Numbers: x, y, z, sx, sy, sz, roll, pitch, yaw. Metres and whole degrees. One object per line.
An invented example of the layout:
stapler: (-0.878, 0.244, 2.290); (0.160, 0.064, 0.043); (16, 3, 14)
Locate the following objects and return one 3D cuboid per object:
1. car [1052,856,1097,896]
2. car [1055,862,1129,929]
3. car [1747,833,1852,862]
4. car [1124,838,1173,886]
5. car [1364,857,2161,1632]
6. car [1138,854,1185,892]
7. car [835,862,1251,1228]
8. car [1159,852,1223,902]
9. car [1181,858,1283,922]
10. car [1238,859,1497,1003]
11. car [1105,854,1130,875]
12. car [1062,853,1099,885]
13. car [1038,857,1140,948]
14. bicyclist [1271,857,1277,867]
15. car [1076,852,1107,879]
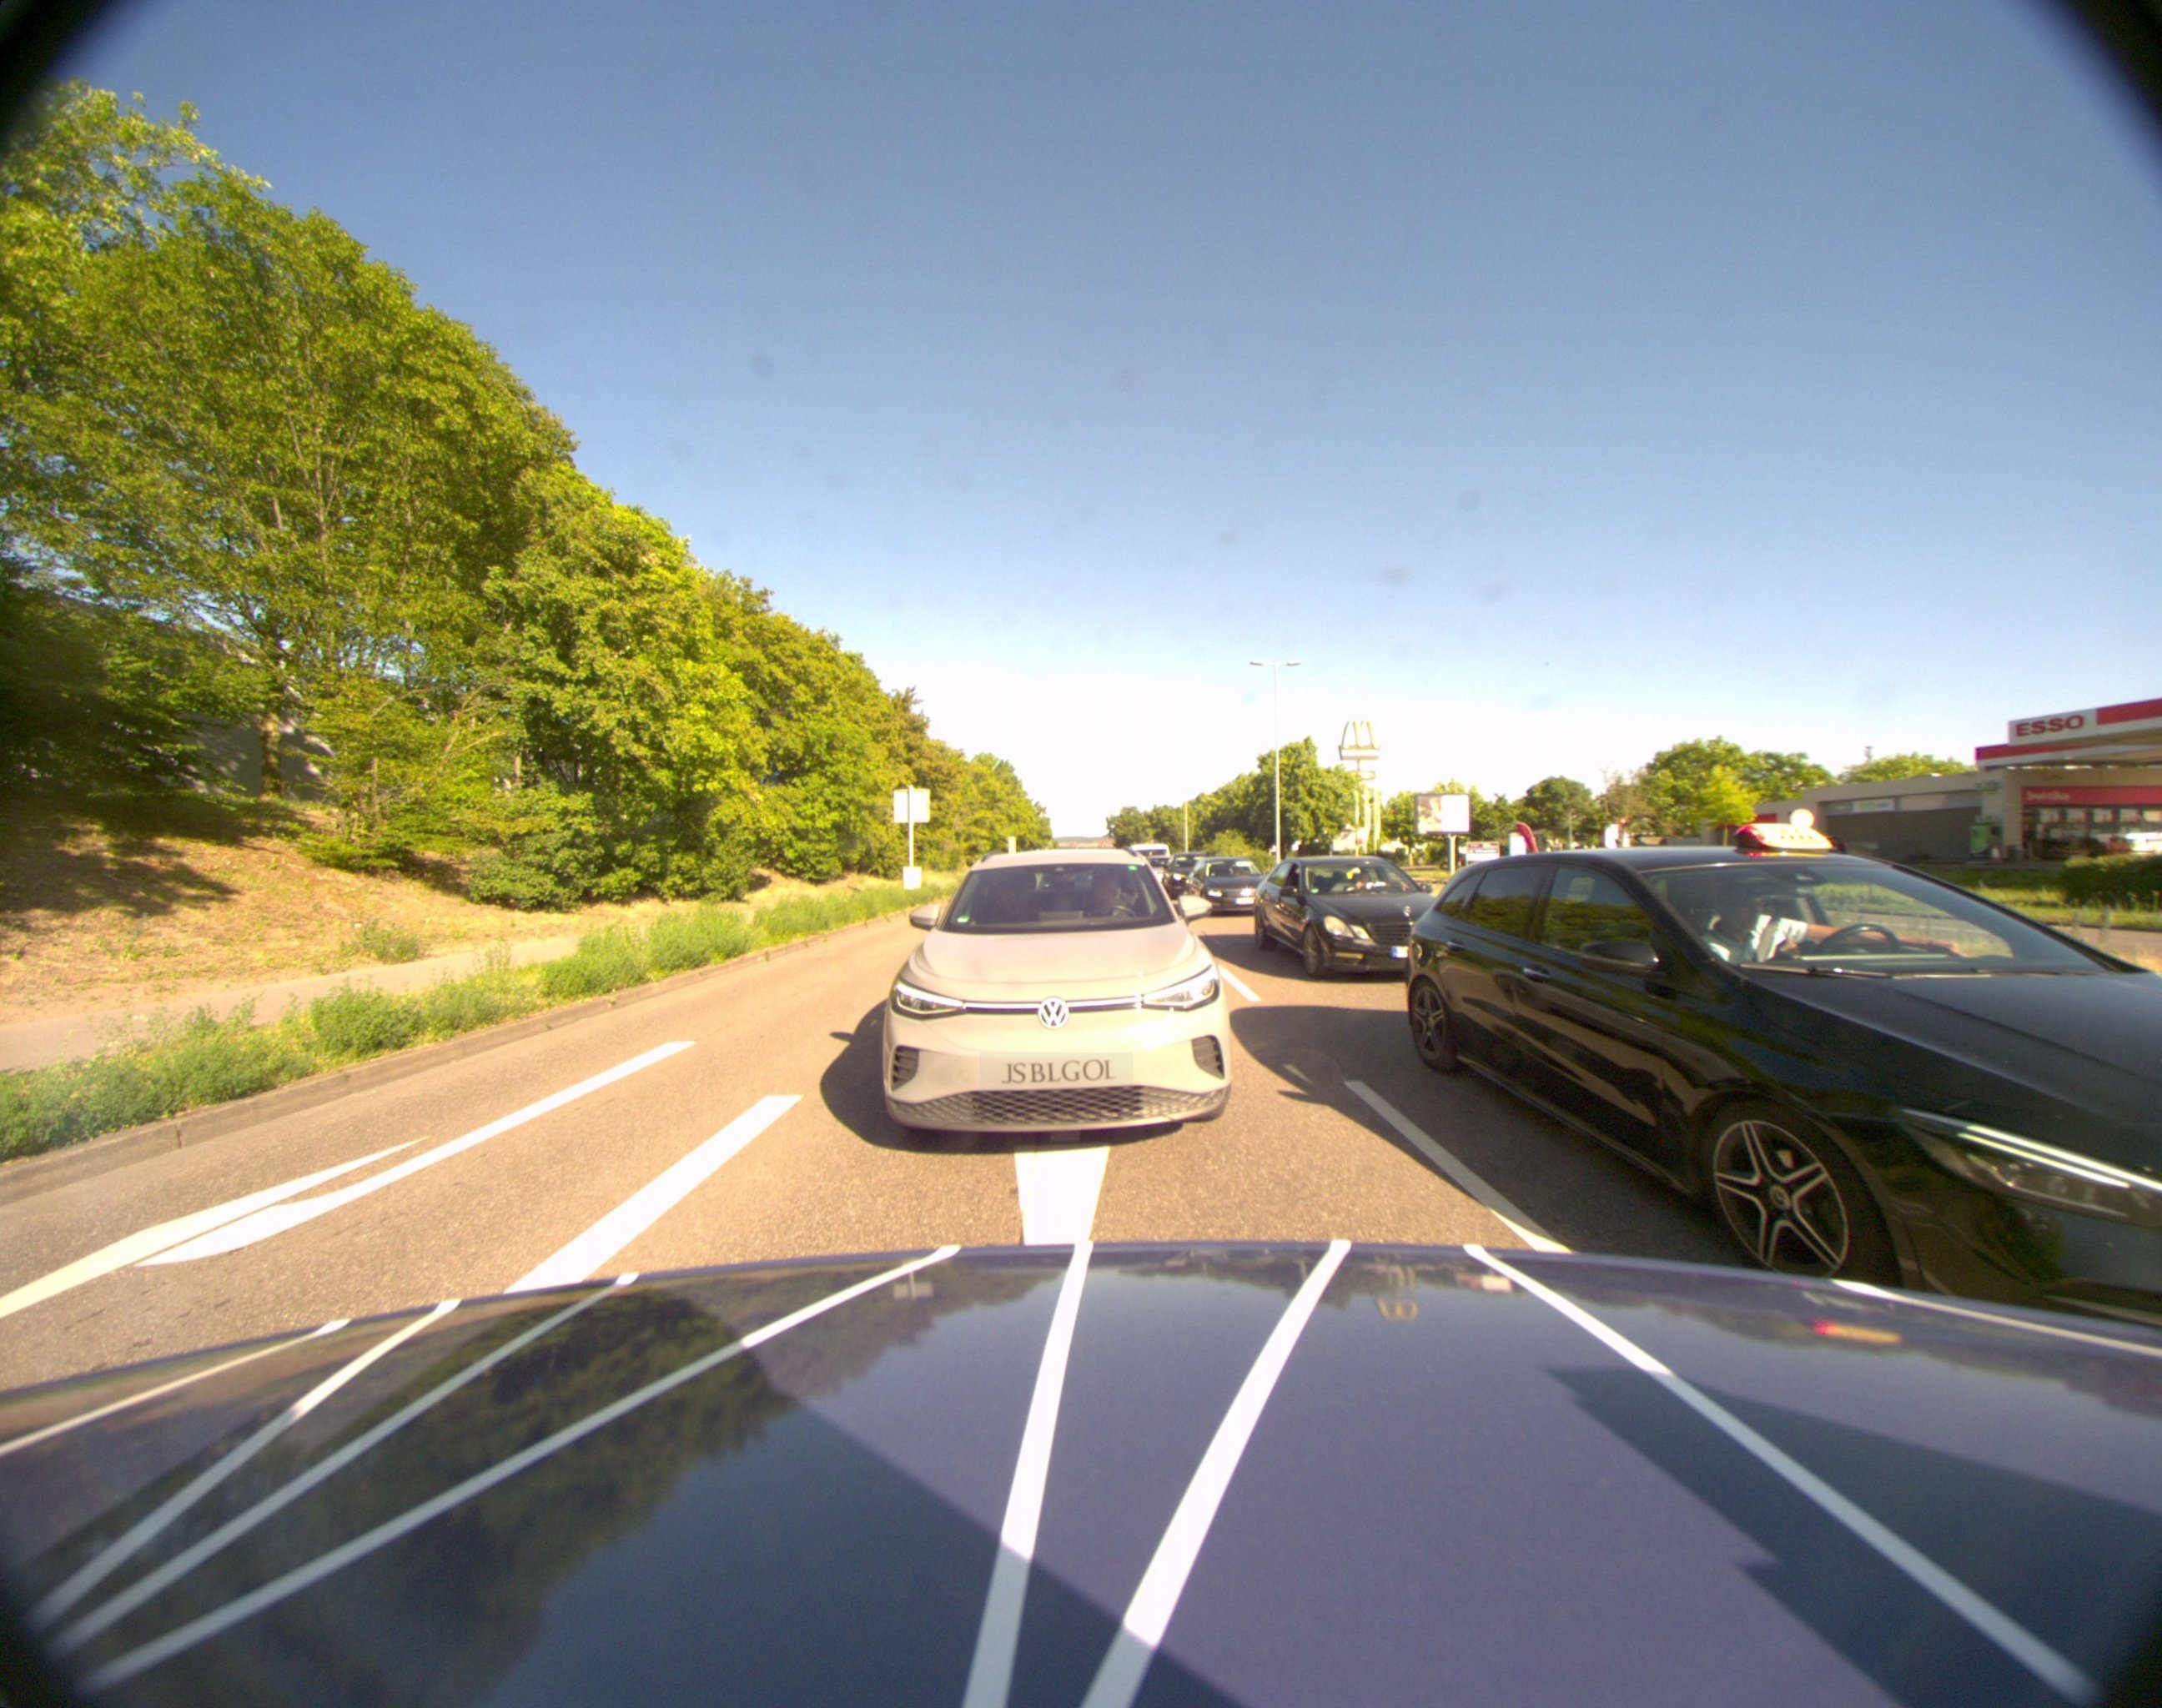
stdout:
car: (-0.258, 0.887, 33.031); (1.763, 1.482, 4.402); (-2, 1, 0)
car: (0.265, 1.043, 20.925); (1.763, 1.482, 4.402); (-2, 1, 0)
car: (37.332, -0.339, 39.633); (1.682, 1.401, 3.978); (1, 1, 0)
car: (3.651, 0.391, 42.074); (2.019, 2.349, 6.523); (-2, 0, 0)
car: (3.091, 0.821, 3.651); (1.763, 1.482, 4.402); (-2, 1, 0)
car: (3.572, 0.797, 34.163); (1.635, 1.547, 3.777); (-2, 0, 0)
car: (-0.181, 0.903, 5.712); (1.862, 1.573, 4.403); (-2, 0, 0)
car: (3.904, 0.762, 27.473); (1.674, 1.607, 3.879); (-2, 0, 0)
car: (3.872, 0.865, 20.214); (1.797, 1.419, 4.287); (-2, 0, 0)
car: (3.589, 0.855, 10.498); (1.868, 1.430, 4.402); (-2, 1, 0)
car: (2.930, 0.824, 62.113); (1.763, 1.607, 4.402); (-2, 1, 0)
car: (-0.044, 0.719, 39.853); (1.763, 1.482, 4.402); (-2, 1, 0)
car: (0.135, 0.876, 15.757); (1.763, 1.482, 4.402); (-2, 1, 0)
bicyclist: (27.437, 1.152, 107.791); (0.629, 1.281, 0.700); (-2, 1, 1)
car: (0.602, 0.697, 47.020); (1.763, 1.482, 4.402); (-2, 1, 0)
